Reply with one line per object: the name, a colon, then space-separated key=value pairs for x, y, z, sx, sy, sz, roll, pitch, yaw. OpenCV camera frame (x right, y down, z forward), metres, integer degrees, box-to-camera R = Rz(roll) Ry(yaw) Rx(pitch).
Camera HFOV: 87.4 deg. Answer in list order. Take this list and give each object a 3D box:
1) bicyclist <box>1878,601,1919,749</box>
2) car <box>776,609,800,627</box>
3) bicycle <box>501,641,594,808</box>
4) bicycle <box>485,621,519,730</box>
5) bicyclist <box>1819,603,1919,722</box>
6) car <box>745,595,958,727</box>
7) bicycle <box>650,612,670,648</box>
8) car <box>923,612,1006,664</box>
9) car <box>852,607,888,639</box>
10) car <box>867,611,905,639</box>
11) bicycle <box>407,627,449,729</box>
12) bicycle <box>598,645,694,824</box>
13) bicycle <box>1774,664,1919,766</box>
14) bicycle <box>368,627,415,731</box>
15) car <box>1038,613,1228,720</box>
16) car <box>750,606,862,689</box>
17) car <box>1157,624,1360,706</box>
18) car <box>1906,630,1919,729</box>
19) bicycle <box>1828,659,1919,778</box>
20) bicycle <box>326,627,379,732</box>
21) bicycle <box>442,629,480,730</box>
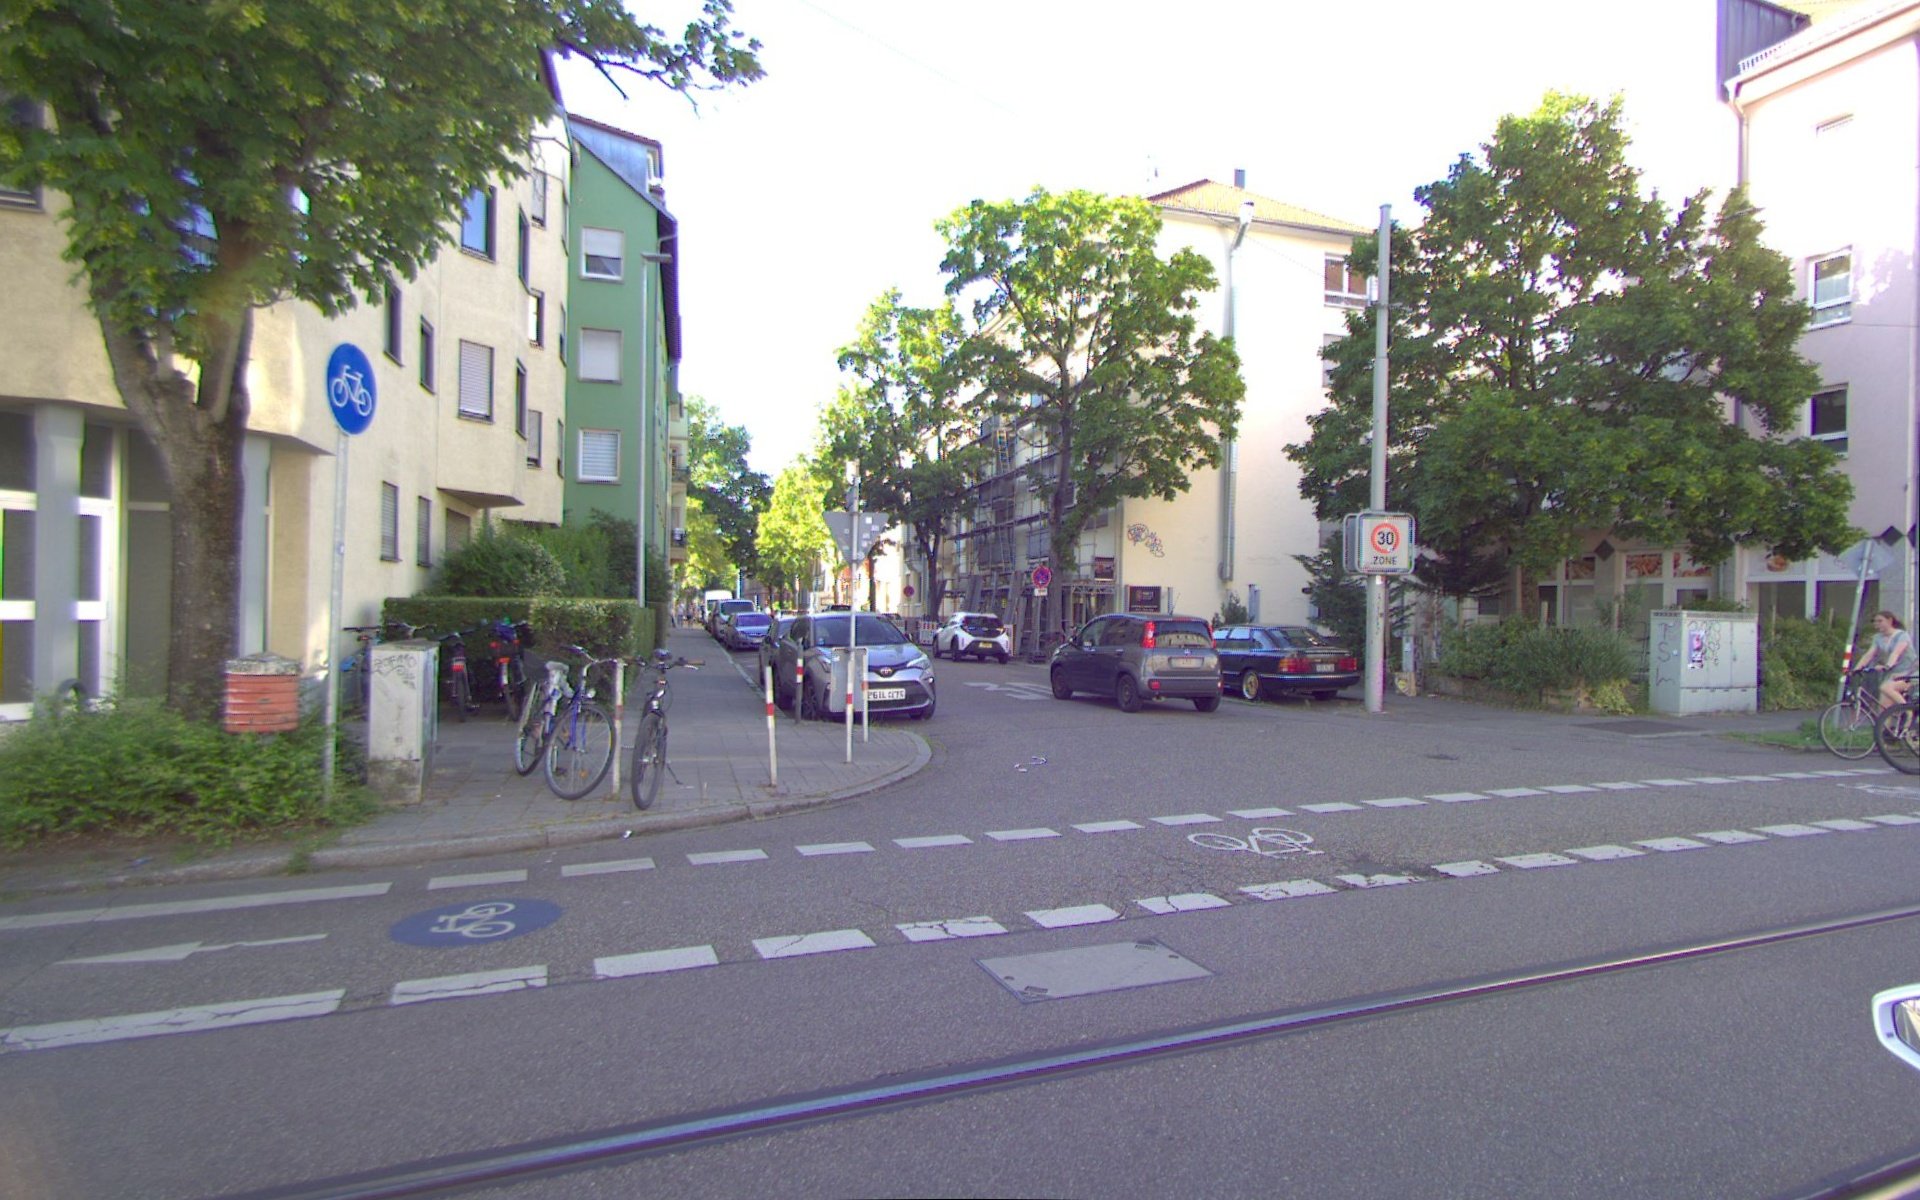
bicyclist: x=10.680 y=0.796 z=10.734 sx=0.852 sy=1.581 sz=0.883 roll=0 pitch=-3 yaw=-10
car: x=-15.488 y=1.630 z=90.542 sx=1.665 sy=1.625 sz=3.986 roll=0 pitch=-1 yaw=-17
bicycle: x=-3.188 y=0.899 z=7.873 sx=0.586 sy=1.099 sz=1.803 roll=1 pitch=-1 yaw=-20
bicycle: x=-5.417 y=0.860 z=11.900 sx=0.327 sy=1.159 sz=1.385 roll=1 pitch=1 yaw=-24
bicyclist: x=11.155 y=0.759 z=12.195 sx=0.852 sy=1.398 sz=0.624 roll=0 pitch=-4 yaw=-9
car: x=-1.768 y=0.811 z=15.093 sx=1.885 sy=1.682 sz=3.972 roll=-1 pitch=0 yaw=-27
bicycle: x=-10.858 y=1.069 z=36.368 sx=0.543 sy=1.193 sz=2.272 roll=4 pitch=-1 yaw=-15
car: x=0.098 y=1.161 z=31.723 sx=1.654 sy=1.565 sz=3.390 roll=1 pitch=-1 yaw=-18
car: x=-5.381 y=1.325 z=59.768 sx=1.535 sy=1.749 sz=3.371 roll=4 pitch=-1 yaw=-14
car: x=-4.183 y=1.373 z=56.412 sx=1.535 sy=1.428 sz=3.371 roll=4 pitch=-1 yaw=-14
bicycle: x=-6.184 y=0.876 z=11.698 sx=0.327 sy=1.060 sz=1.385 roll=1 pitch=1 yaw=-24
bicycle: x=-2.391 y=0.920 z=7.527 sx=0.586 sy=1.099 sz=1.874 roll=1 pitch=-1 yaw=-20
bicycle: x=11.209 y=1.361 z=12.131 sx=2.192 sy=1.164 sz=0.841 roll=0 pitch=-5 yaw=-9
bicycle: x=-6.527 y=0.877 z=11.558 sx=0.327 sy=1.060 sz=1.385 roll=1 pitch=1 yaw=-24
car: x=2.734 y=1.037 z=16.580 sx=1.538 sy=1.553 sz=3.470 roll=3 pitch=-2 yaw=-20
car: x=-3.295 y=0.904 z=20.921 sx=1.730 sy=1.517 sz=4.120 roll=-1 pitch=0 yaw=-17
car: x=5.666 y=1.223 z=19.721 sx=1.685 sy=1.406 sz=4.556 roll=2 pitch=-2 yaw=-15
car: x=16.422 y=1.279 z=15.070 sx=3.943 sy=1.462 sz=1.740 roll=1 pitch=3 yaw=-23
bicycle: x=10.578 y=1.219 z=10.682 sx=2.193 sy=1.164 sz=0.840 roll=0 pitch=-2 yaw=-11
bicycle: x=-6.867 y=0.868 z=11.385 sx=0.327 sy=1.060 sz=1.385 roll=1 pitch=1 yaw=-24
bicycle: x=-5.849 y=0.901 z=11.792 sx=0.327 sy=1.060 sz=1.385 roll=1 pitch=1 yaw=-24
